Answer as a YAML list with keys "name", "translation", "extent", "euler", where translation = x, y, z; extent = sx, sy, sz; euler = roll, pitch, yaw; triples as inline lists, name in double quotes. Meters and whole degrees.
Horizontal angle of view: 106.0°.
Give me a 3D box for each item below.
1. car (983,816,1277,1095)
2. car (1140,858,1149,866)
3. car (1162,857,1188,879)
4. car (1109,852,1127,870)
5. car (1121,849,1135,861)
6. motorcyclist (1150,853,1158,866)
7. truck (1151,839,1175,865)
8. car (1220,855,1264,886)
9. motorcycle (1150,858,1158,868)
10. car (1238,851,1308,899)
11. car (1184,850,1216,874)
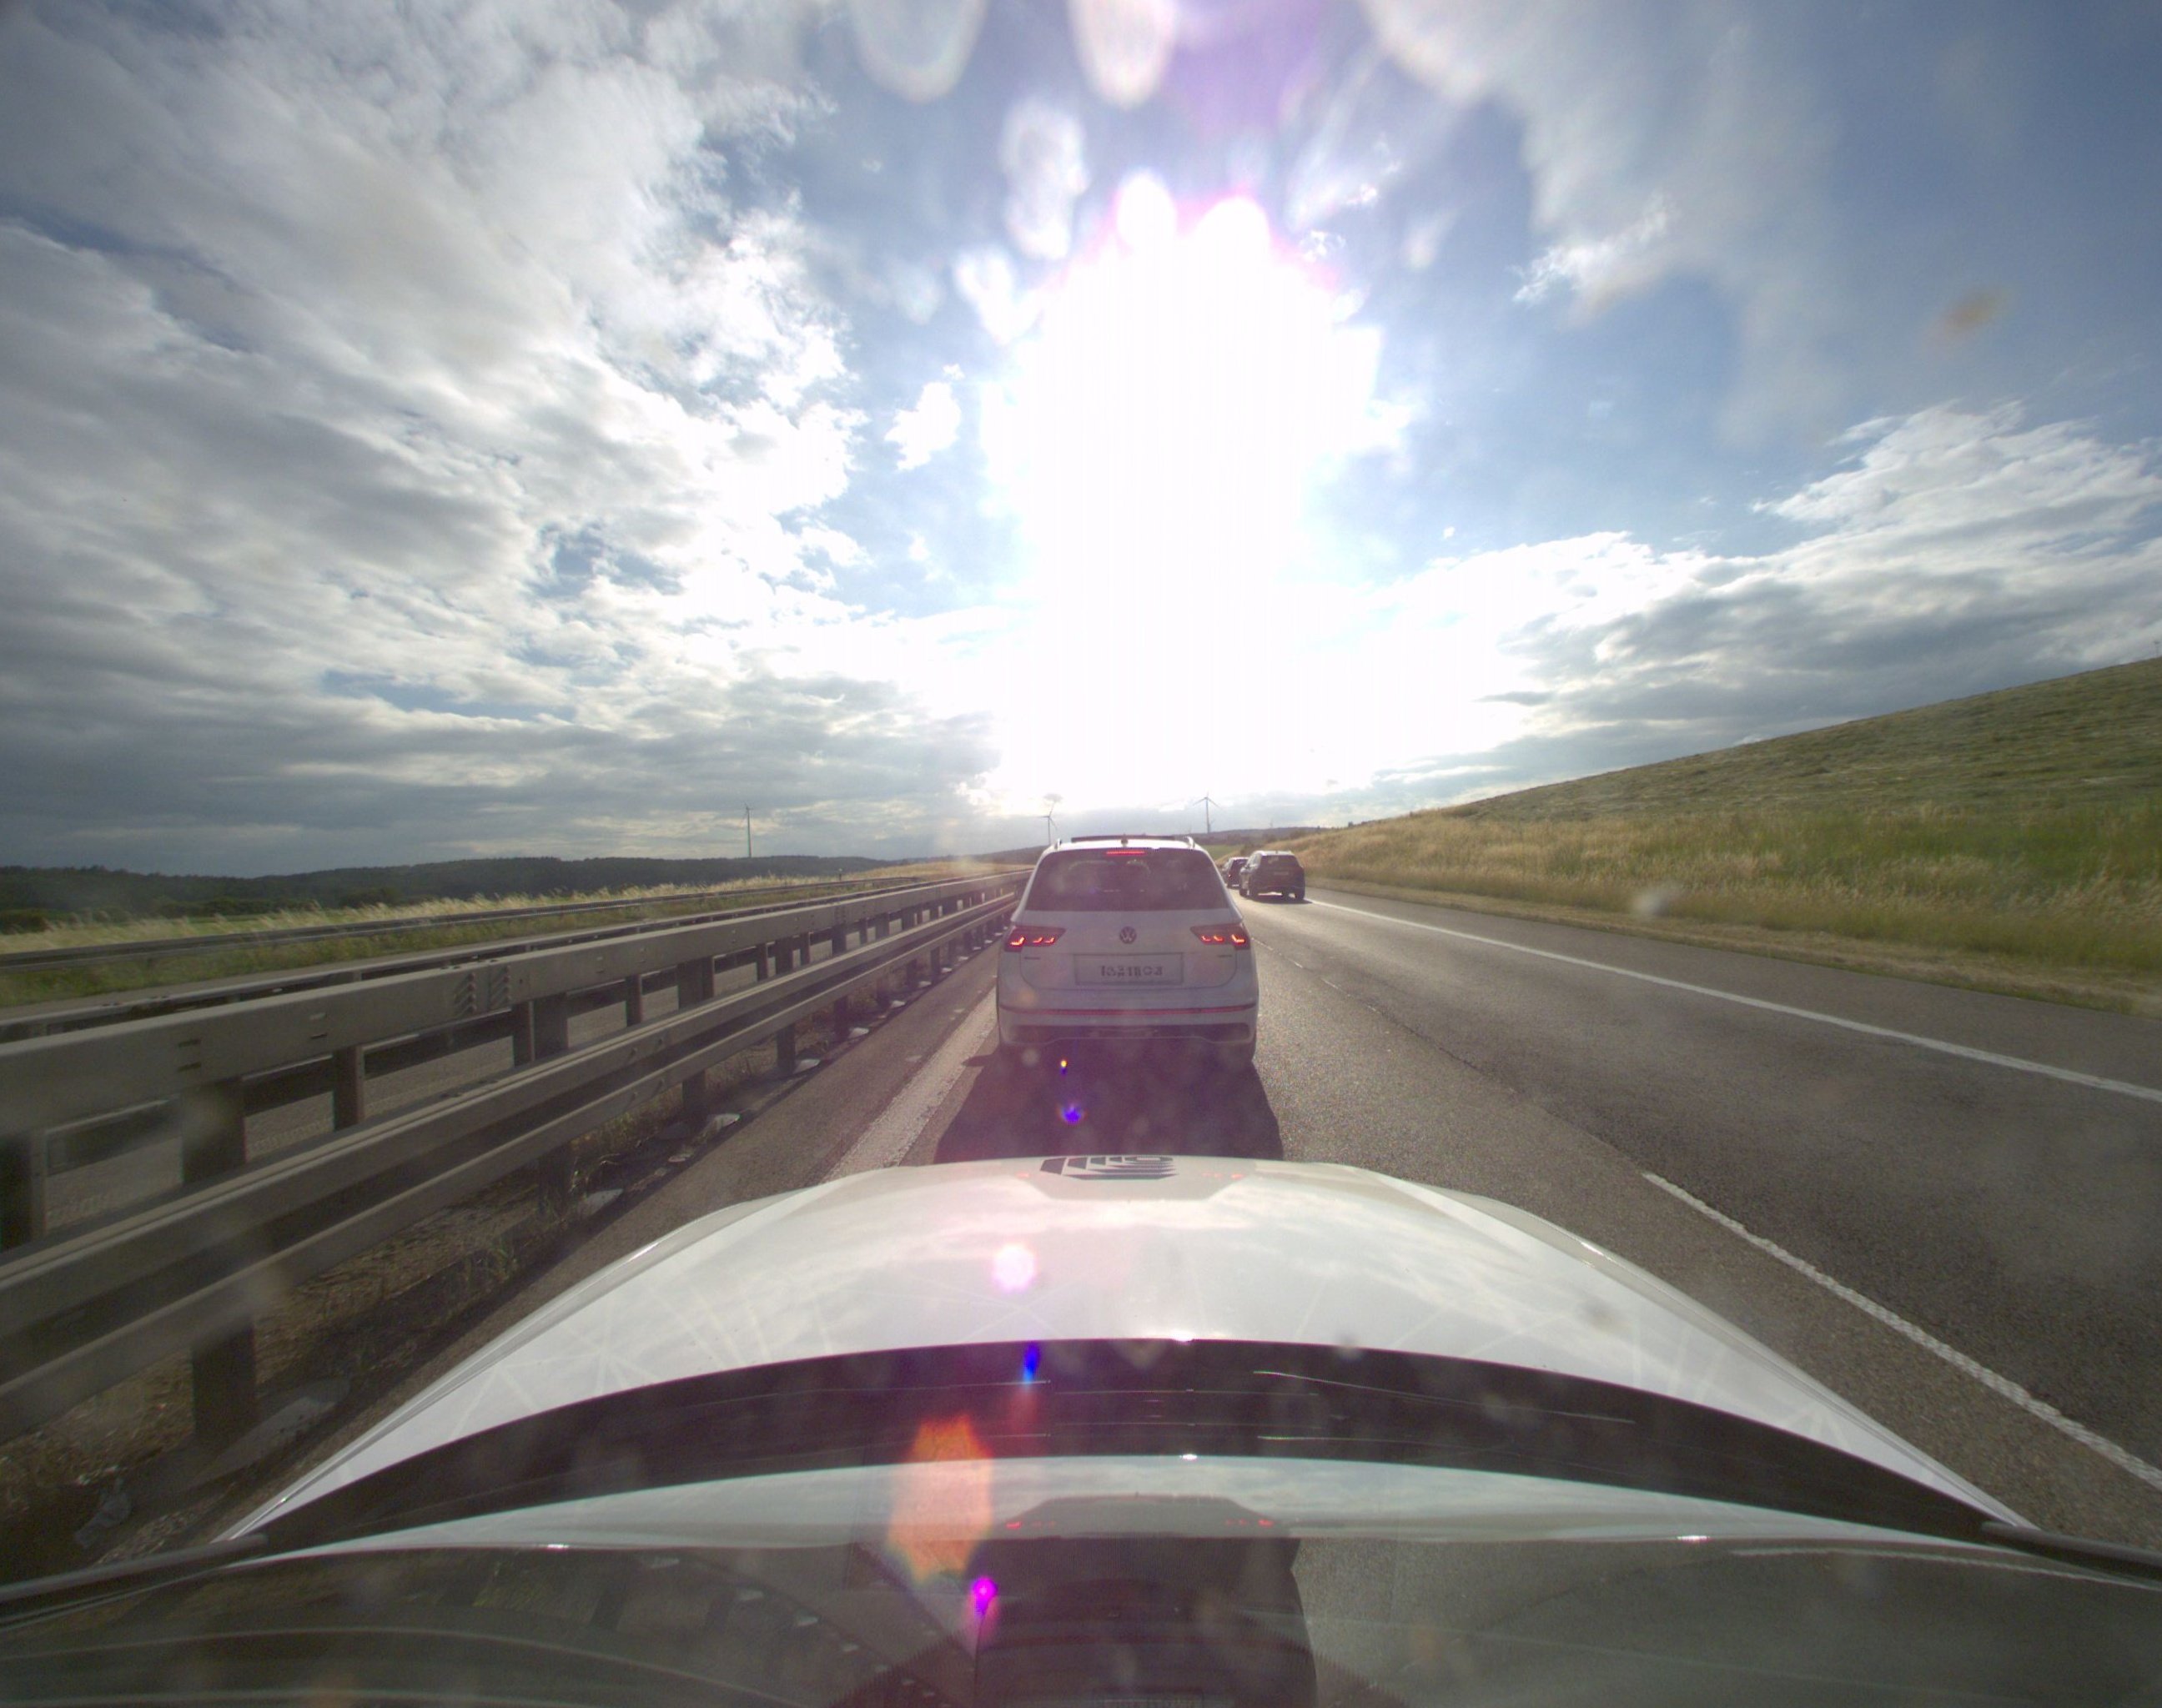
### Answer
- name: "car"
  translation: [0.364, 0.639, 6.997]
  extent: [1.763, 1.675, 4.001]
  euler: [-1, -1, 2]
- name: "car"
  translation: [13.870, 1.777, 177.854]
  extent: [1.697, 1.546, 4.001]
  euler: [-1, -1, 2]
- name: "car"
  translation: [7.526, 1.098, 65.457]
  extent: [1.697, 1.650, 4.001]
  euler: [-1, -1, 2]
- name: "car"
  translation: [3.535, 0.660, 78.722]
  extent: [1.697, 1.650, 4.001]
  euler: [-1, -1, 2]
- name: "car"
  translation: [6.375, 0.197, 110.224]
  extent: [1.697, 1.546, 4.001]
  euler: [-1, -1, 2]
- name: "motorcyclist"
  translation: [8.752, 0.669, 97.845]
  extent: [0.846, 1.560, 0.934]
  euler: [-1, -1, 1]
- name: "truck"
  translation: [12.266, -0.294, 122.563]
  extent: [3.170, 3.594, 11.142]
  euler: [-1, 0, 4]
- name: "car"
  translation: [7.706, 0.771, 39.219]
  extent: [1.598, 1.420, 3.676]
  euler: [-1, -1, 4]
- name: "motorcycle"
  translation: [8.760, 1.061, 97.885]
  extent: [0.892, 1.190, 2.257]
  euler: [-1, -1, 1]
- name: "car"
  translation: [6.749, 0.714, 29.063]
  extent: [1.813, 1.601, 4.239]
  euler: [0, -1, 4]
- name: "car"
  translation: [8.110, 0.534, 55.672]
  extent: [1.697, 1.546, 4.001]
  euler: [-1, -1, 2]
